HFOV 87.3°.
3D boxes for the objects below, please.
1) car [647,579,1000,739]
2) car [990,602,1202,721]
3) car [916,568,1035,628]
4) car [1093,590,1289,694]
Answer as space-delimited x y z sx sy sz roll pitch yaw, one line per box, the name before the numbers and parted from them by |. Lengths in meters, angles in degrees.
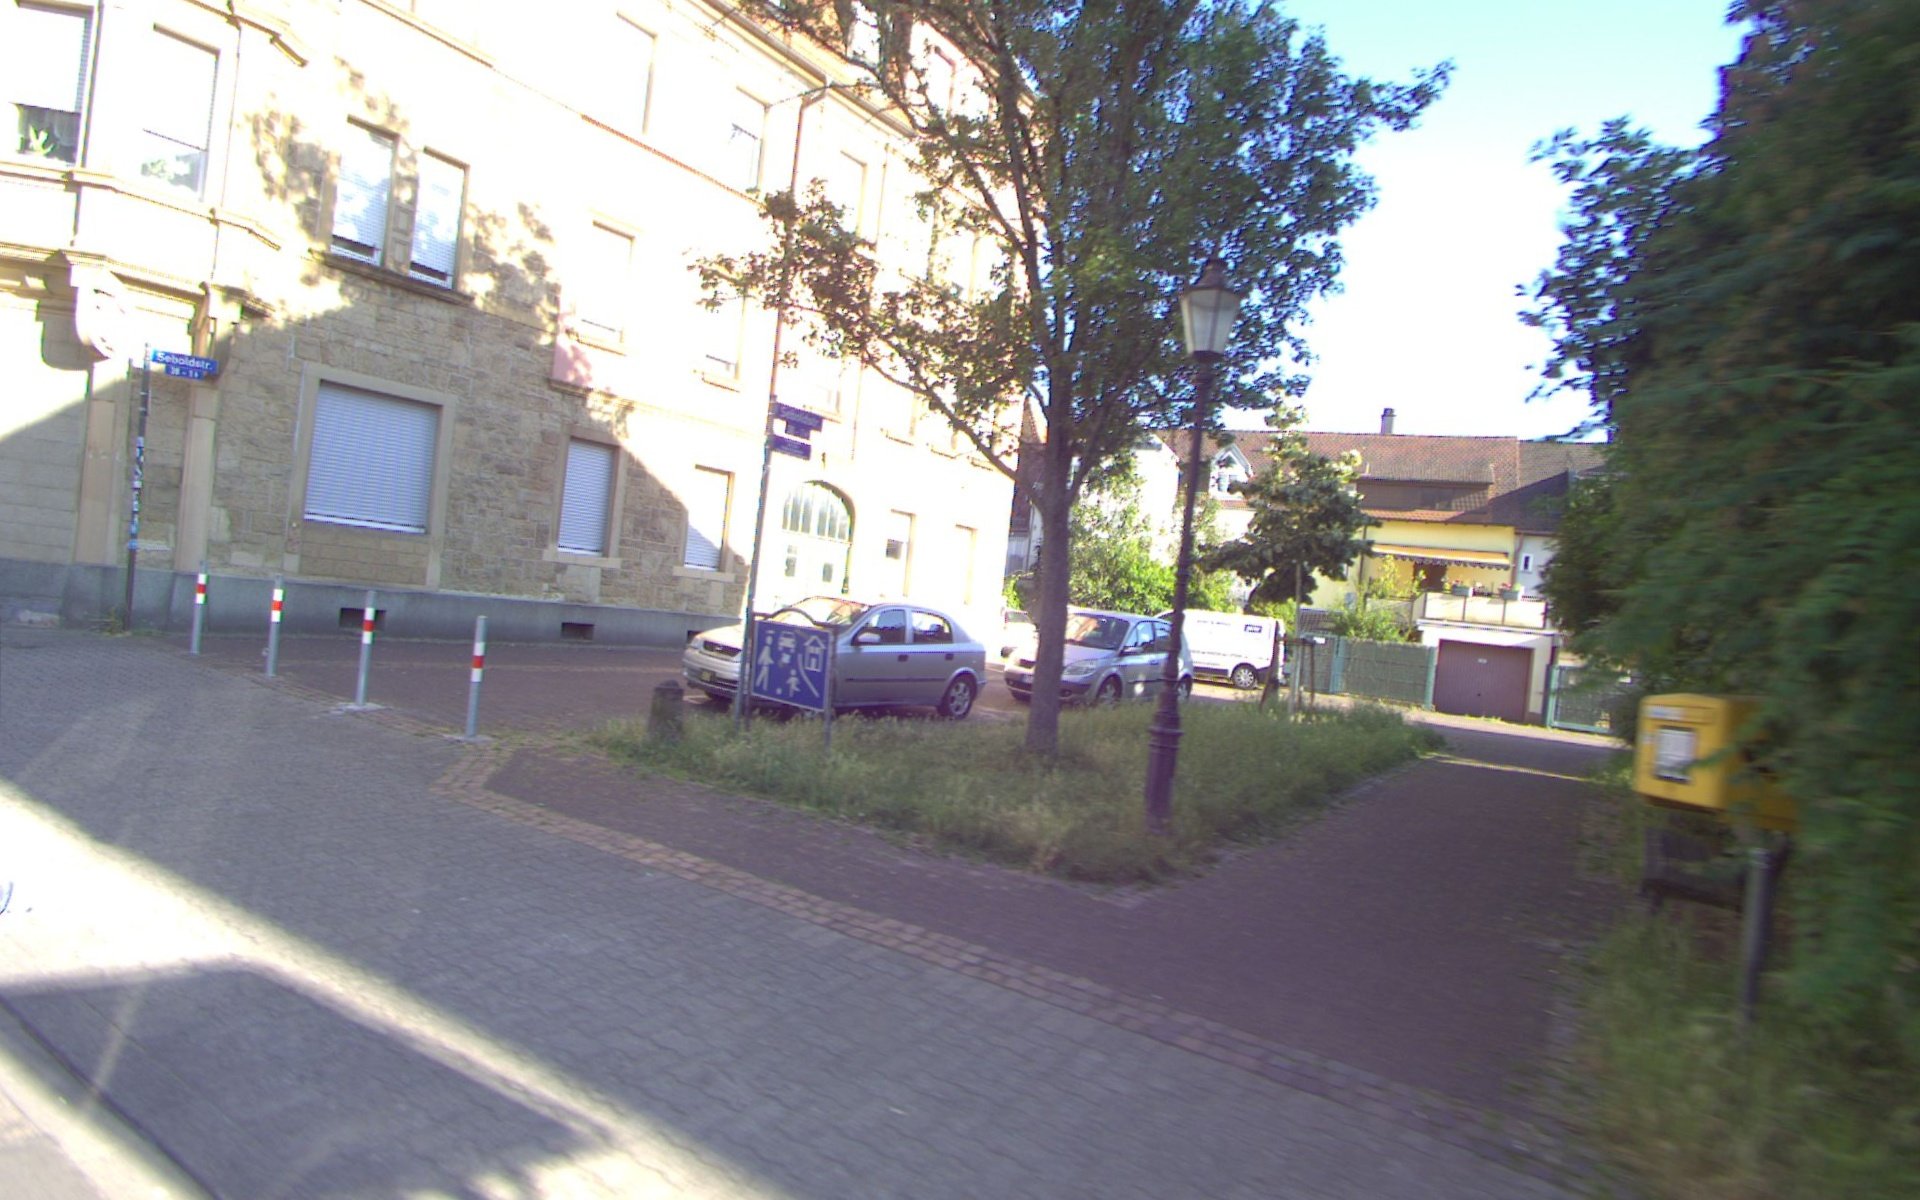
car | -1.504 0.671 12.249 1.874 1.439 3.948 8 3 39
car | 2.389 1.035 16.812 1.686 1.577 4.018 7 0 36
car | 0.579 -0.088 38.480 3.950 1.785 1.905 5 -3 32
car | 6.425 1.165 27.885 4.878 2.049 2.003 8 -2 20
